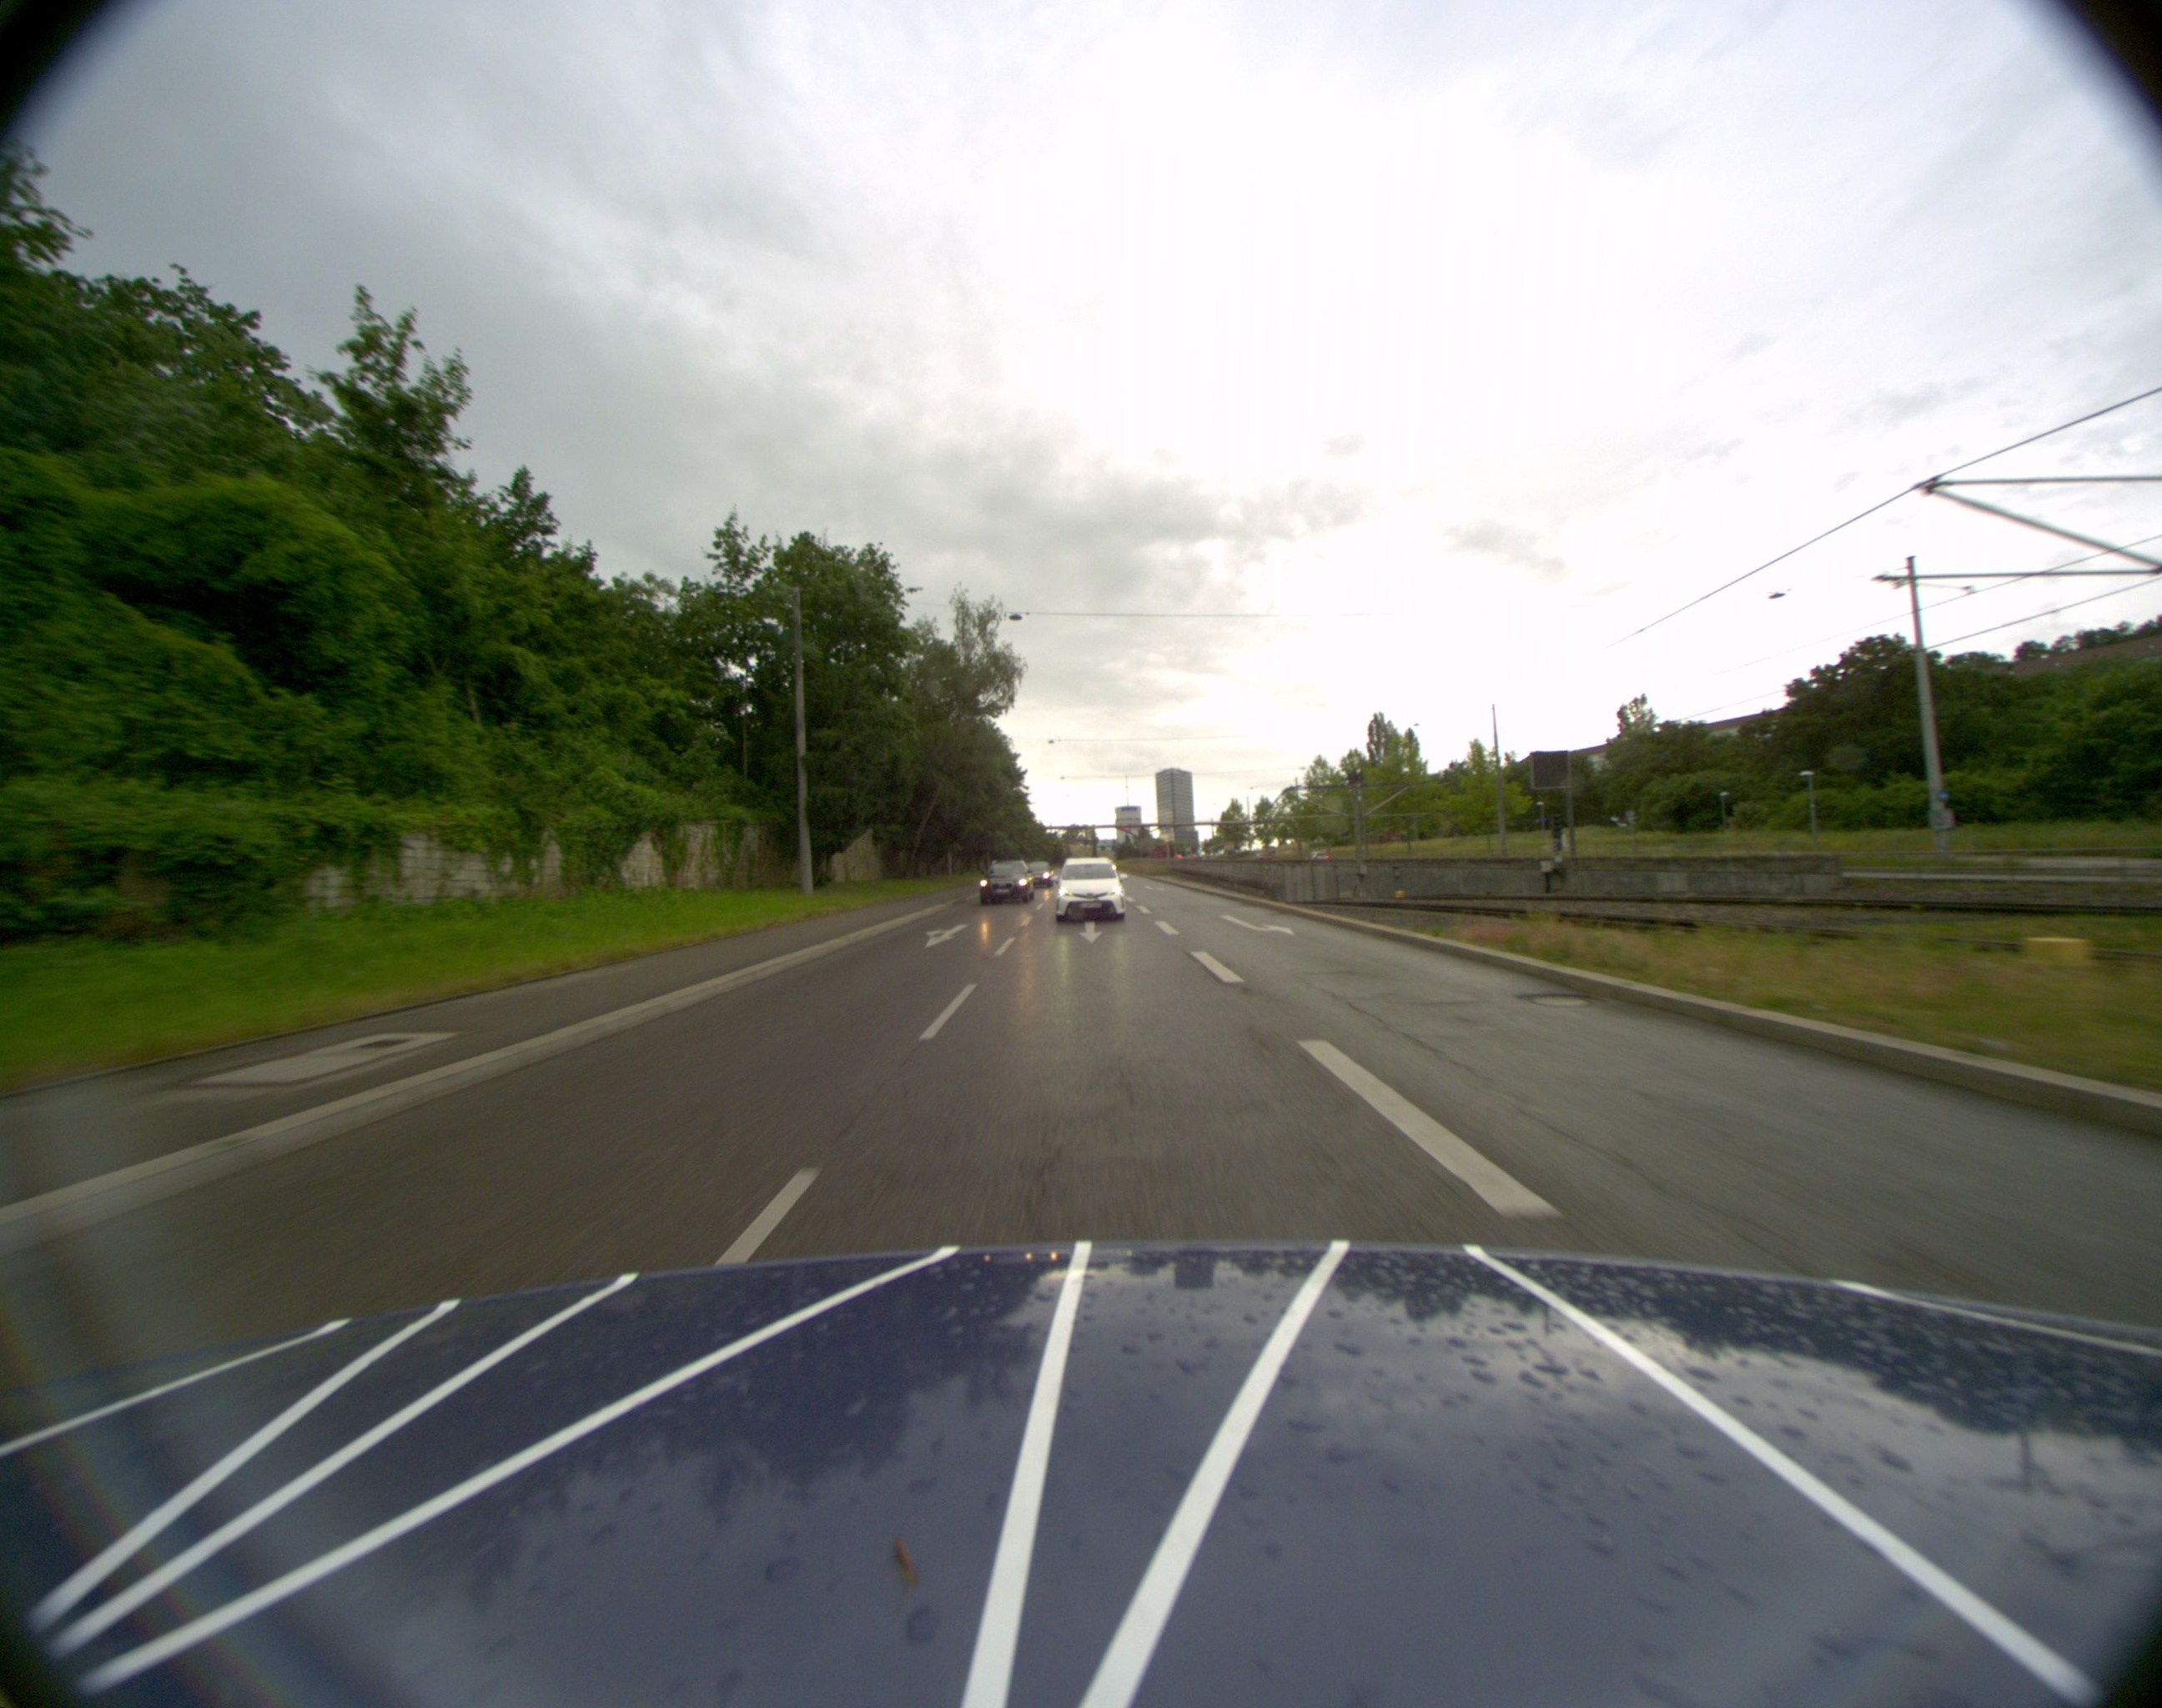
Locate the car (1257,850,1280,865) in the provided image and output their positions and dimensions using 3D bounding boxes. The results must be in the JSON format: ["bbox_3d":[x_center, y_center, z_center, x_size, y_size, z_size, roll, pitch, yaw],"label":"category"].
[{"bbox_3d":[26.176,0.456,105.972,1.896,1.959,4.034,-5,0,-2],"label":"car"}]

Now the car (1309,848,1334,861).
[{"bbox_3d":[25.528,0.034,80.727,1.559,1.284,3.559,-3,-1,1],"label":"car"}]

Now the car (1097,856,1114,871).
[{"bbox_3d":[2.917,1.133,91.722,1.998,1.761,4.000,-2,0,1],"label":"car"}]

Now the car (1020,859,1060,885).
[{"bbox_3d":[-2.378,1.052,44.978,1.845,1.377,4.001,-2,0,4],"label":"car"}]

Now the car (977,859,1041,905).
[{"bbox_3d":[-2.691,1.020,29.475,1.927,1.591,4.279,-1,0,2],"label":"car"}]

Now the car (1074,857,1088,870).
[{"bbox_3d":[0.046,1.434,114.895,1.998,1.761,4.000,-2,0,1],"label":"car"}]

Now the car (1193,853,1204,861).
[{"bbox_3d":[27.219,0.655,176.402,1.895,1.634,4.358,-5,0,1],"label":"car"}]

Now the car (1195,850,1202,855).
[{"bbox_3d":[37.503,-0.570,241.978,1.661,1.518,4.436,-3,-1,1],"label":"car"}]

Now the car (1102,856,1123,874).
[{"bbox_3d":[3.202,1.105,76.366,1.998,1.761,4.002,0,-1,4],"label":"car"}]

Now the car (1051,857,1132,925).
[{"bbox_3d":[0.395,0.922,20.783,1.924,1.604,4.376,-2,0,4],"label":"car"}]
